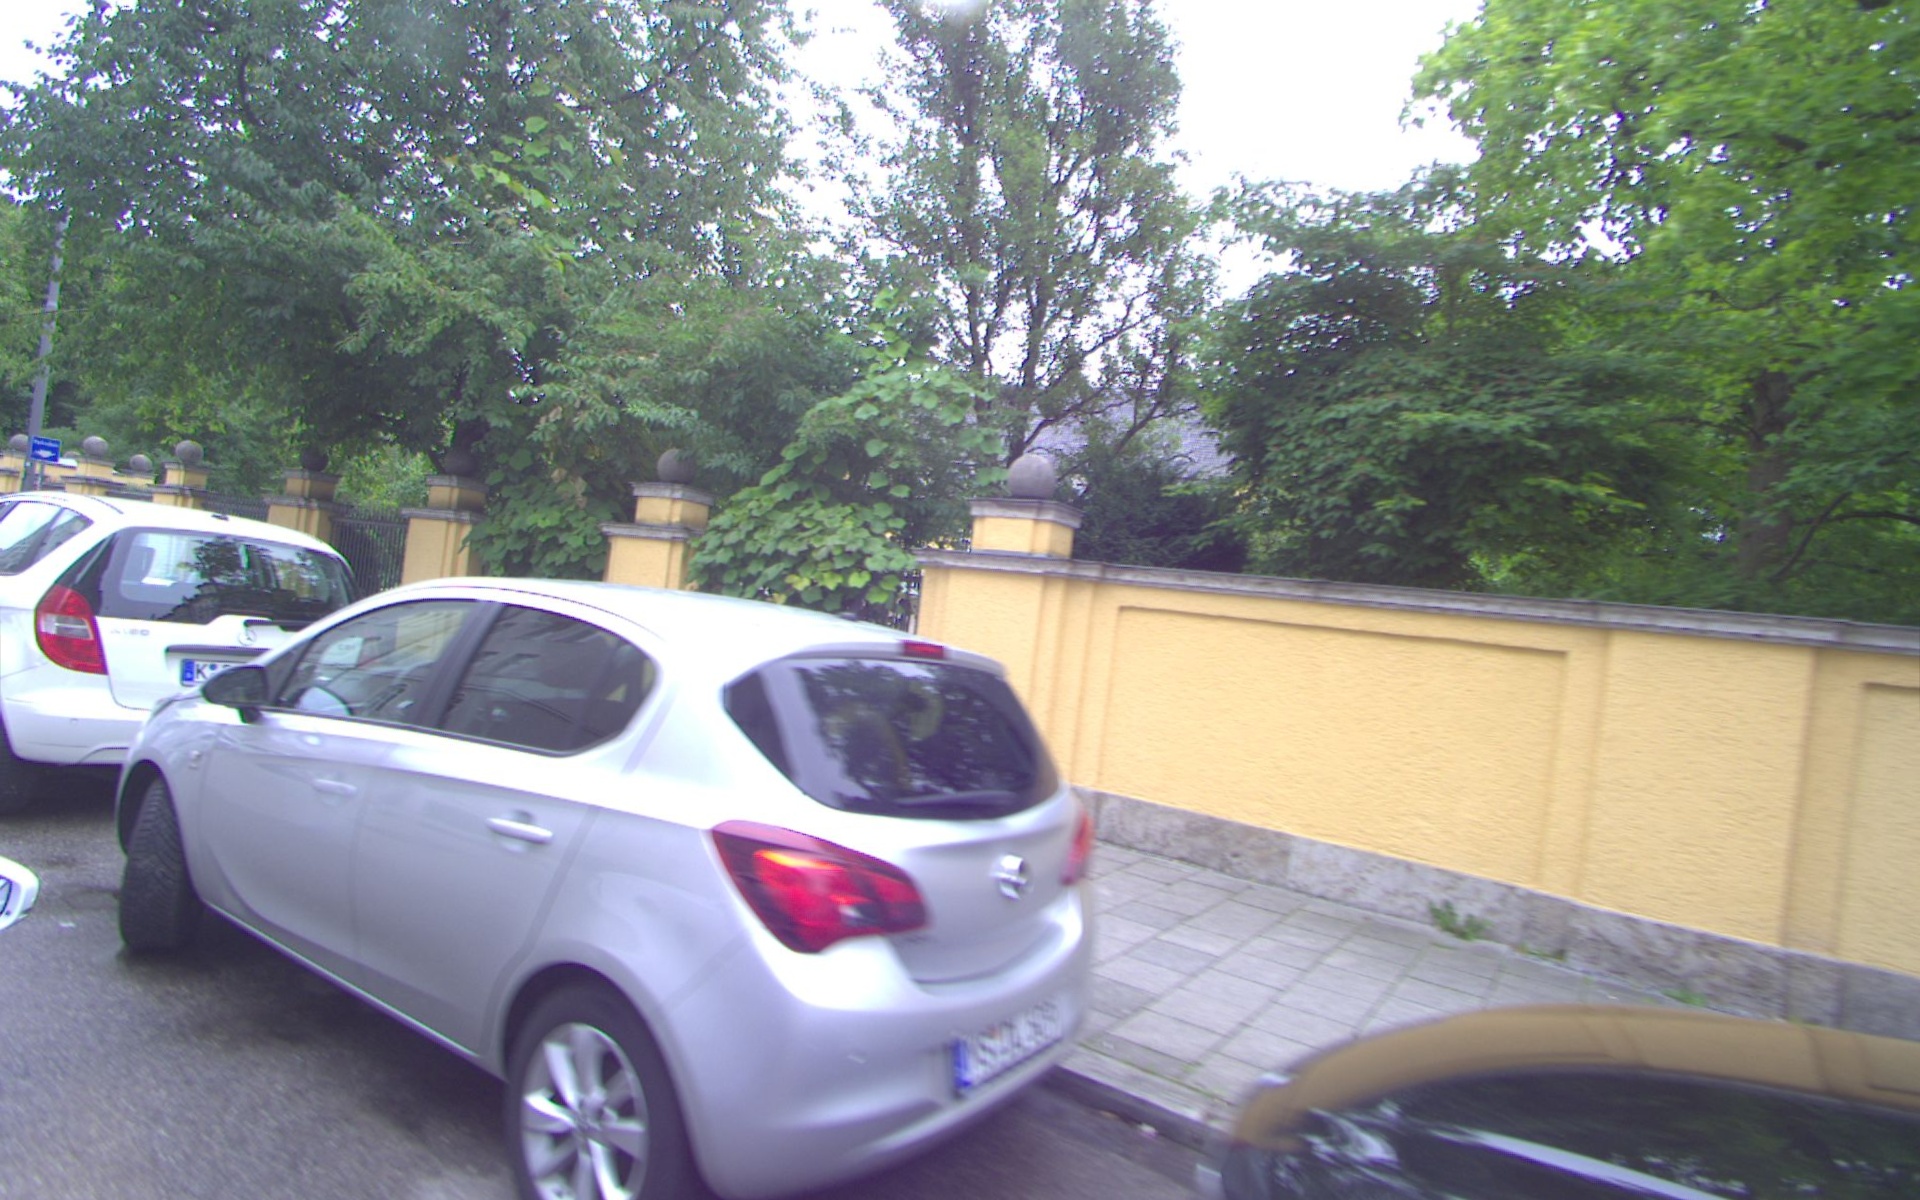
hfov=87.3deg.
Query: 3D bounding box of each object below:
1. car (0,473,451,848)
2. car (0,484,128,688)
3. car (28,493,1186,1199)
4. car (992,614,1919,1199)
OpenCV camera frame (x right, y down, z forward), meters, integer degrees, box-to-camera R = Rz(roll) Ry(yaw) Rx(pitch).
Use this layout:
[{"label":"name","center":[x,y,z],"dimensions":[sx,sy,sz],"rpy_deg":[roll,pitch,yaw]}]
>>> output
[{"label":"car","center":[-5.220,0.147,6.186],"dimensions":[4.250,1.589,1.715],"rpy_deg":[6,-1,33]},{"label":"car","center":[-9.497,-0.333,9.047],"dimensions":[4.615,1.589,1.715],"rpy_deg":[6,-1,33]},{"label":"car","center":[-1.519,0.561,3.662],"dimensions":[4.116,1.471,1.715],"rpy_deg":[6,-1,33]},{"label":"car","center":[2.517,1.046,0.610],"dimensions":[4.875,1.471,1.715],"rpy_deg":[6,-1,33]}]
